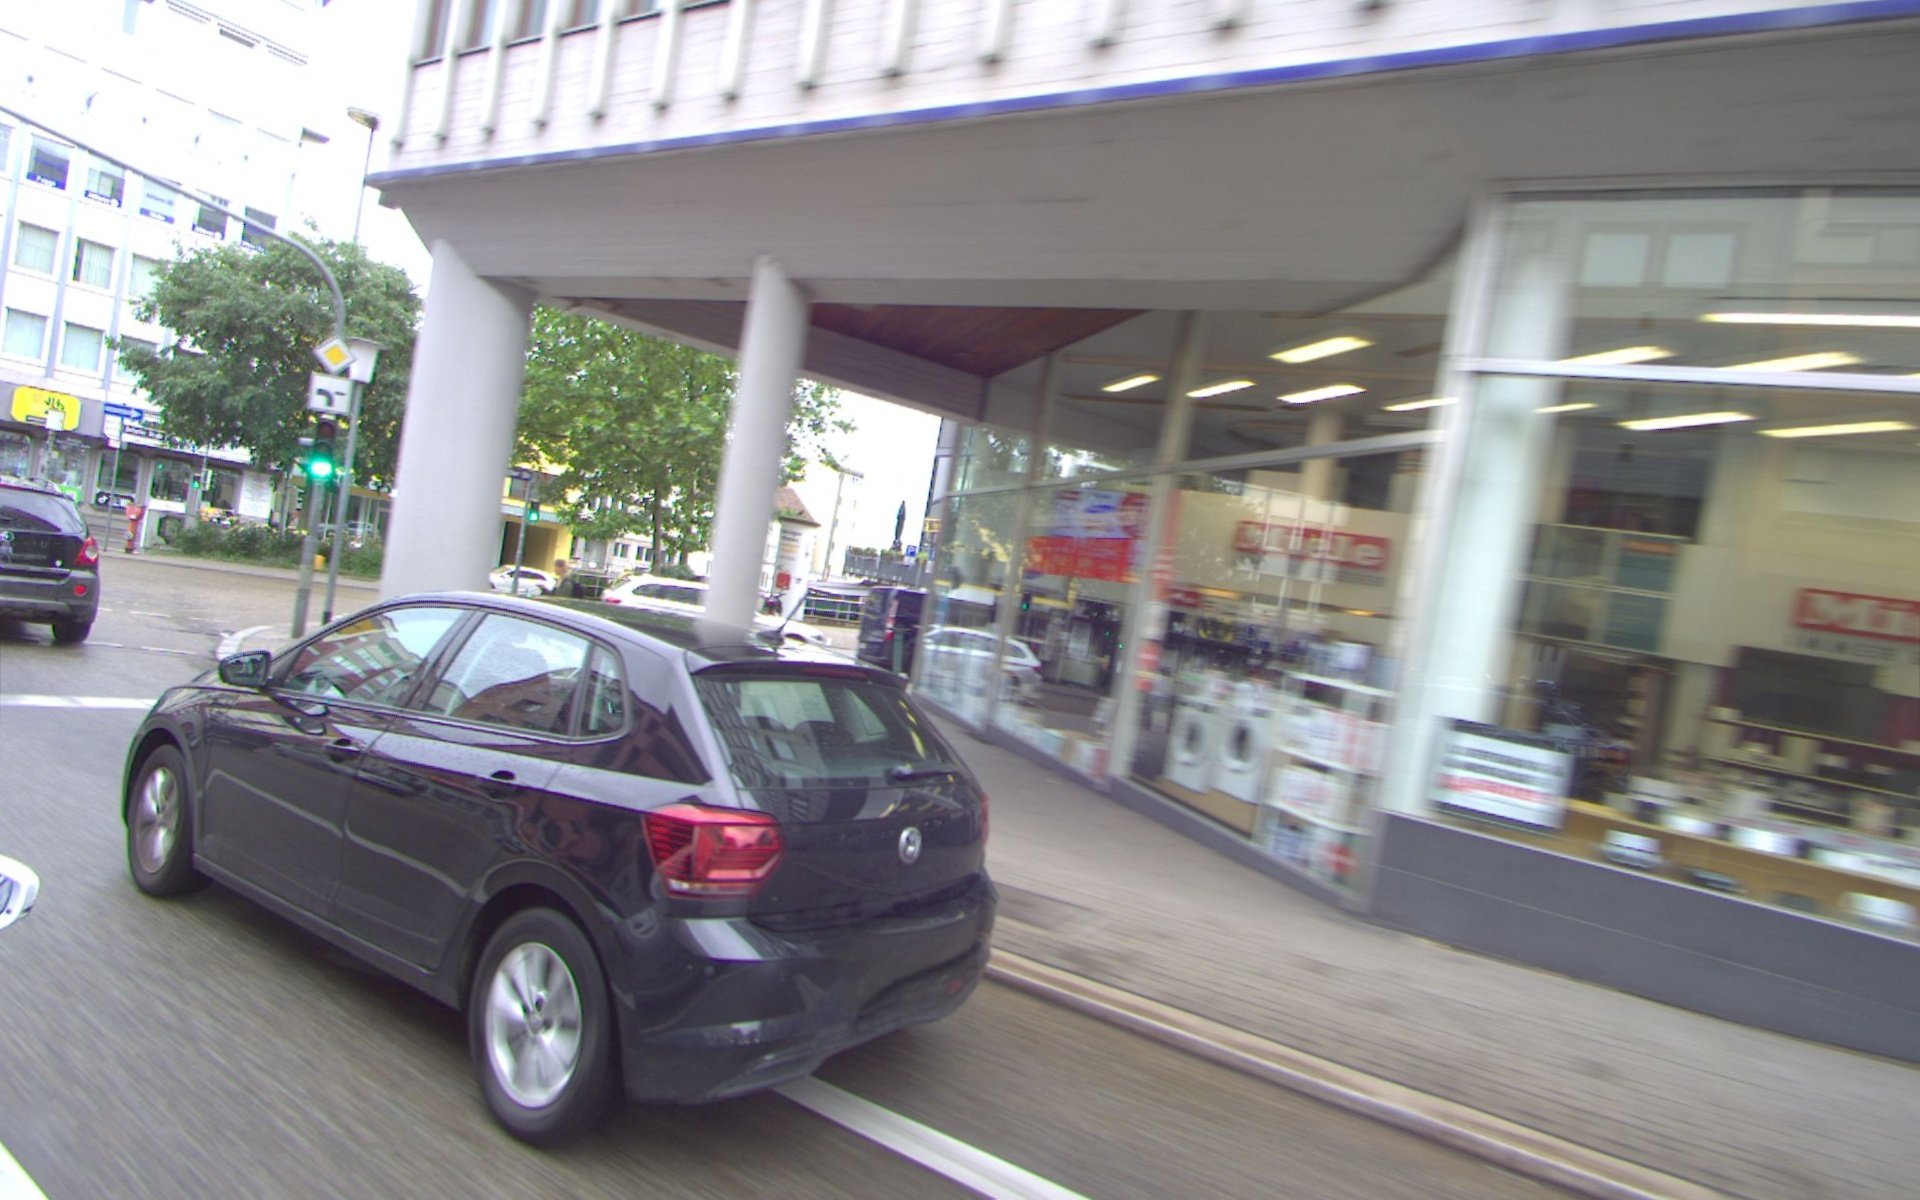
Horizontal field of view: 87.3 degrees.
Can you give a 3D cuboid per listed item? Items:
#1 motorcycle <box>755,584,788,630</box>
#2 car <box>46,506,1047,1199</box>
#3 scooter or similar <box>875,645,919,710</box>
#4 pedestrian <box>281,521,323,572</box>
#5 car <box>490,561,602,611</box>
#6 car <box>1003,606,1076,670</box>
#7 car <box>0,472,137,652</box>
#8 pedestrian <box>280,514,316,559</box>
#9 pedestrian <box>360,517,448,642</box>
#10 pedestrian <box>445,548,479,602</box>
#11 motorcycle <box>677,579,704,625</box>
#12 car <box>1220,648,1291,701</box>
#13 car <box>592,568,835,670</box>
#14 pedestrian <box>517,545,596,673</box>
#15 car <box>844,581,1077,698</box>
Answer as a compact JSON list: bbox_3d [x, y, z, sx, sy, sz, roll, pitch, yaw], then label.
[{"bbox_3d":[-5.605,0.197,30.004,0.618,1.132,2.086,8,4,-5],"label":"motorcycle"},{"bbox_3d":[-1.859,0.633,4.142,3.934,1.492,1.693,7,-4,33],"label":"car"},{"bbox_3d":[-0.970,1.158,15.226,0.303,0.834,1.122,7,0,-18],"label":"scooter or similar"},{"bbox_3d":[-26.355,-2.145,40.325,0.876,1.847,0.826,9,-2,27],"label":"pedestrian"},{"bbox_3d":[-18.730,-0.606,45.606,1.804,1.430,4.182,14,2,44],"label":"car"},{"bbox_3d":[2.583,1.234,33.719,1.599,1.574,3.833,7,3,-6],"label":"car"},{"bbox_3d":[-11.331,-0.629,11.349,4.434,1.714,1.900,7,-2,35],"label":"car"},{"bbox_3d":[-30.424,-2.921,46.225,0.666,1.845,0.894,7,-4,13],"label":"pedestrian"},{"bbox_3d":[-8.611,-0.303,15.599,0.815,1.841,0.723,6,1,24],"label":"pedestrian"},{"bbox_3d":[-18.183,-0.910,36.730,0.671,1.845,0.712,3,-6,43],"label":"pedestrian"},{"bbox_3d":[-8.075,0.028,30.182,0.620,1.131,1.932,8,3,-16],"label":"motorcycle"},{"bbox_3d":[11.018,2.749,37.762,1.597,1.572,3.691,7,-1,3],"label":"car"},{"bbox_3d":[-5.312,0.420,21.766,4.783,1.512,1.849,8,-1,-19],"label":"car"},{"bbox_3d":[-5.746,0.119,14.303,0.717,1.711,0.821,5,2,-39],"label":"pedestrian"},{"bbox_3d":[0.034,0.911,22.821,4.748,2.022,1.949,8,0,-26],"label":"car"}]
